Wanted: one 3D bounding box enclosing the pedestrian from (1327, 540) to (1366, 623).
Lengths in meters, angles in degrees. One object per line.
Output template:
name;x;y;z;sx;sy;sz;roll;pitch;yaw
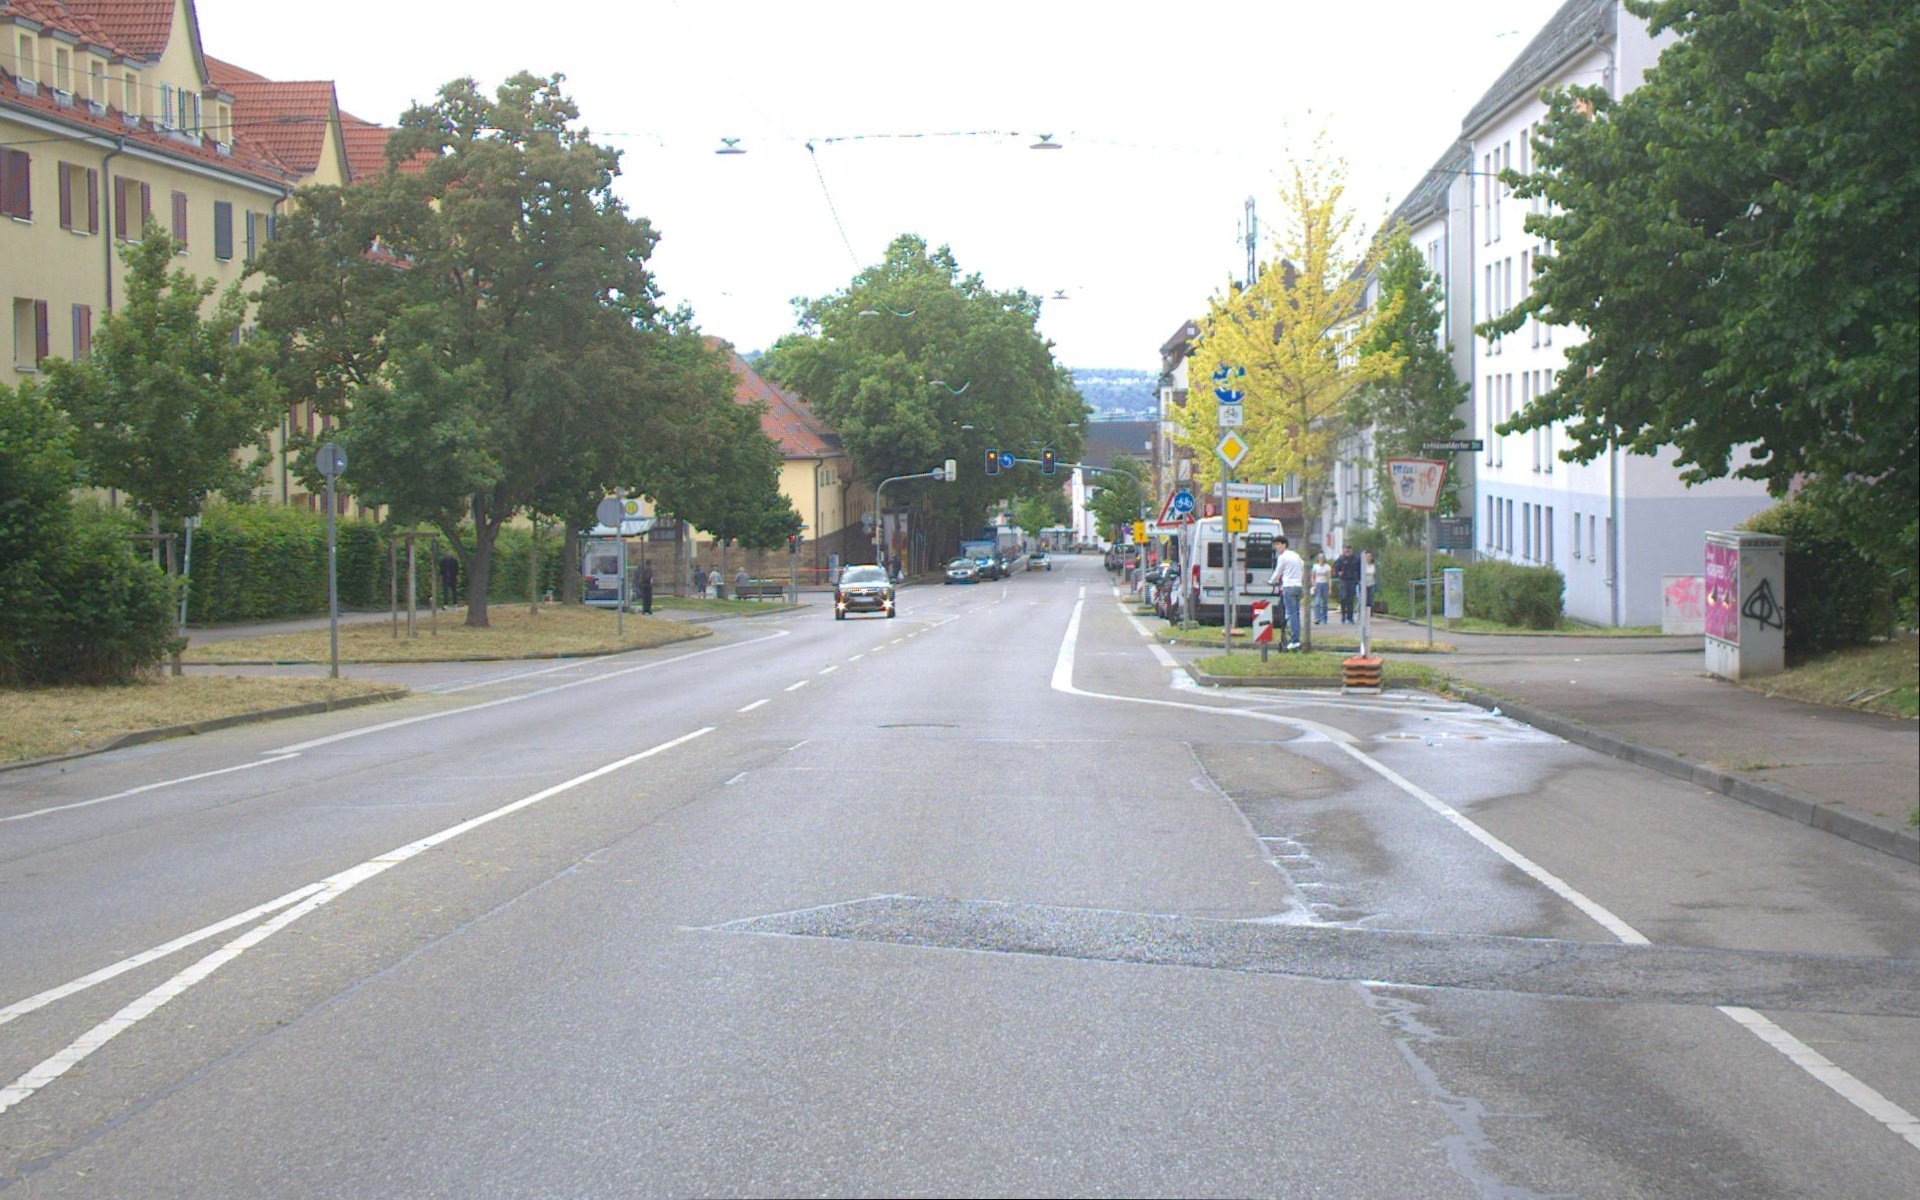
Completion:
pedestrian;8.811;-0.420;78.328;0.670;1.880;0.766;-1;0;-10

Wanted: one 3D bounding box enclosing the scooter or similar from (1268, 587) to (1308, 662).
scooter or similar;5.274;0.387;55.373;0.490;1.159;2.075;0;1;1

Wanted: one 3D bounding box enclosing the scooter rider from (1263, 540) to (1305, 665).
scooter rider;5.237;0.040;55.588;0.625;2.007;0.758;0;1;1

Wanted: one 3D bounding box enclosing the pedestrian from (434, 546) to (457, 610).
pedestrian;-14.334;-0.604;95.760;0.513;1.773;0.753;0;1;2

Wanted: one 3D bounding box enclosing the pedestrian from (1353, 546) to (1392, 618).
pedestrian;9.447;-0.424;78.726;0.656;1.599;0.575;-5;1;-7

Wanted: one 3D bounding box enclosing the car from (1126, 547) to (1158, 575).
car;12.841;-2.757;242.784;1.993;1.929;4.919;0;1;0

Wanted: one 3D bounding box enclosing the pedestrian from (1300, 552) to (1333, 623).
pedestrian;8.241;-0.286;79.430;0.576;1.638;0.561;-1;0;-12

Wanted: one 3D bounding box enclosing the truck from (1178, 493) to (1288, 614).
truck;5.947;-1.039;75.458;2.052;2.557;5.690;0;1;1

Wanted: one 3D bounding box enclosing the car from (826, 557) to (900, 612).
car;-2.935;-0.483;104.847;1.899;1.614;4.361;0;1;3

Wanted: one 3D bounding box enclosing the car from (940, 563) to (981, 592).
car;0.035;-1.225;184.705;1.756;1.467;4.306;-1;1;5

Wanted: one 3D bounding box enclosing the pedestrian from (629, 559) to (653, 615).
pedestrian;-9.931;-0.419;107.005;0.597;1.721;0.861;1;1;5
